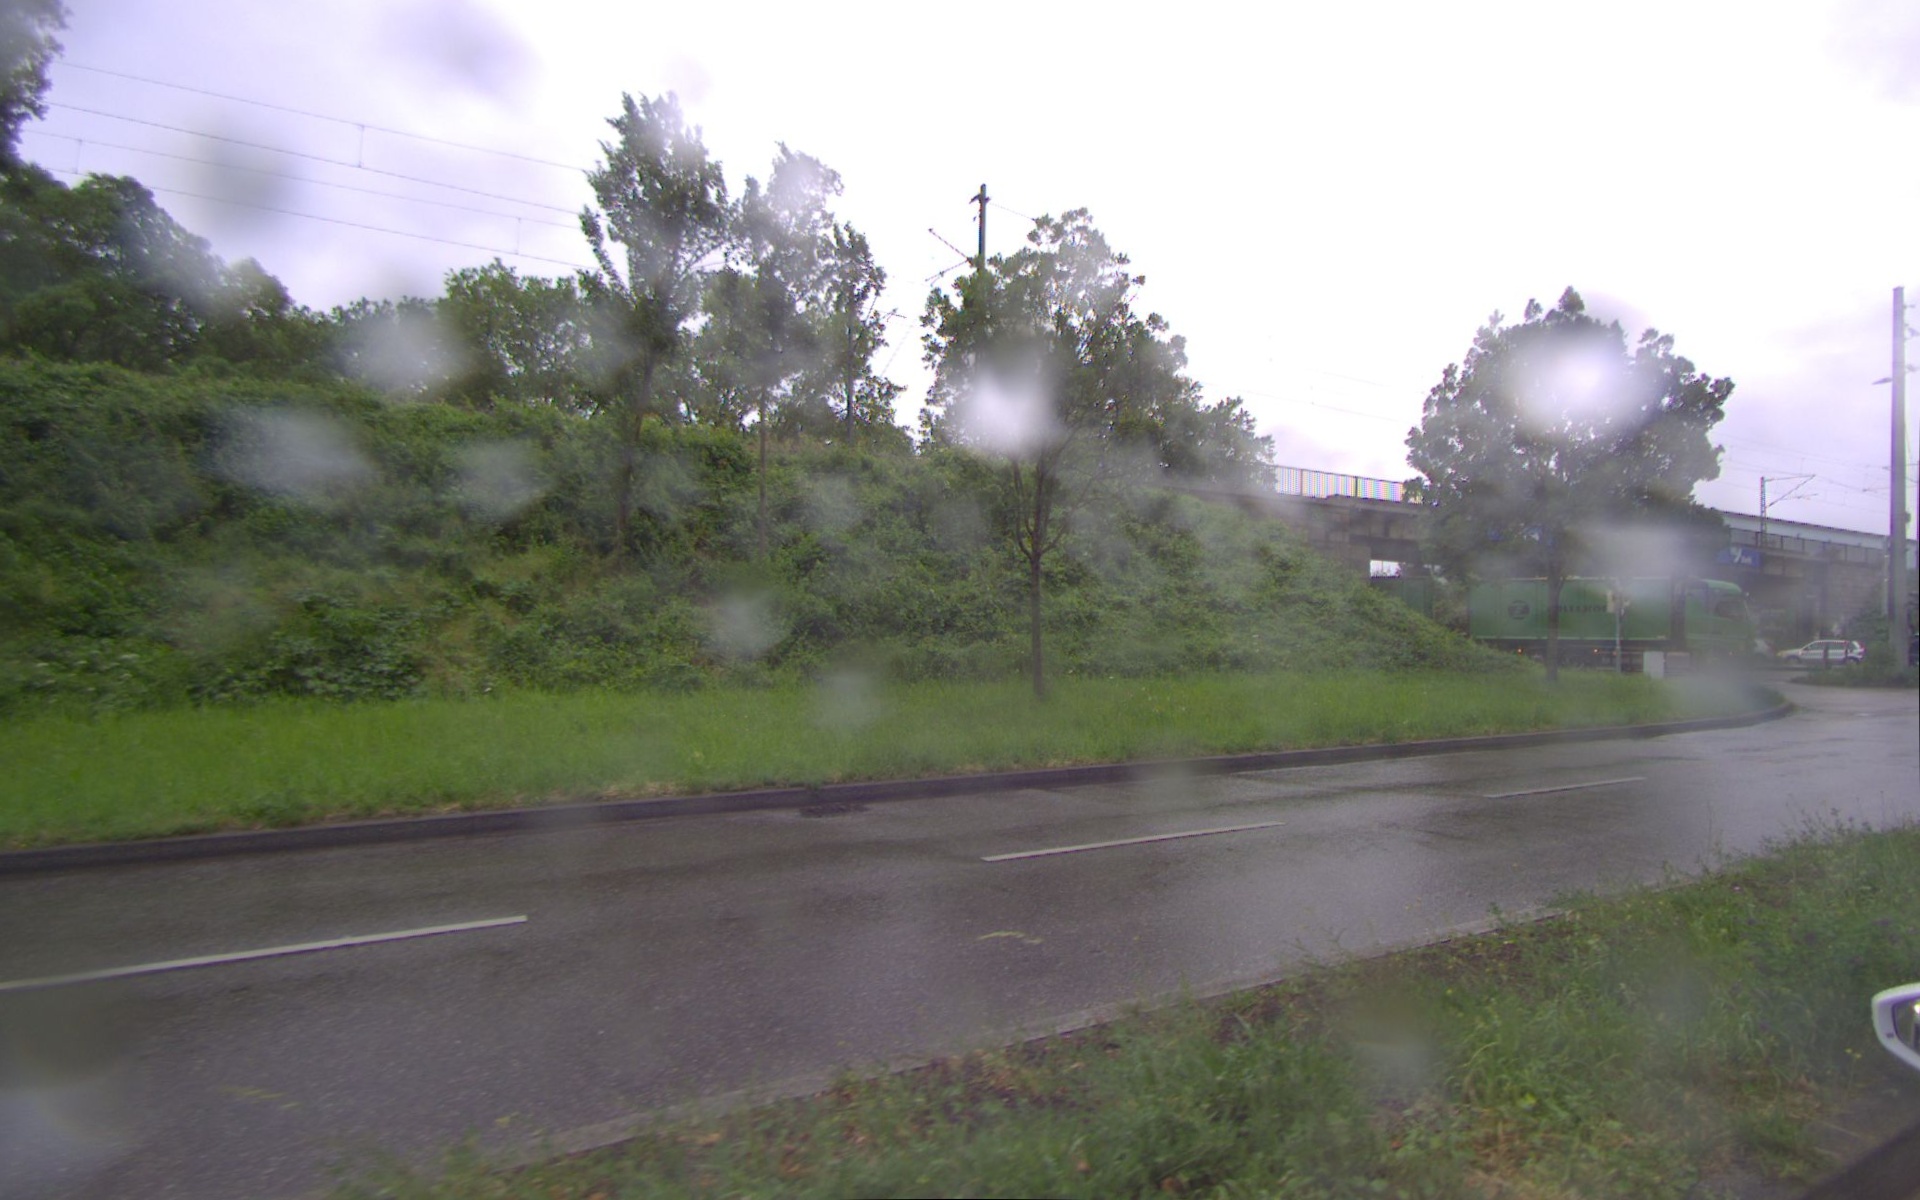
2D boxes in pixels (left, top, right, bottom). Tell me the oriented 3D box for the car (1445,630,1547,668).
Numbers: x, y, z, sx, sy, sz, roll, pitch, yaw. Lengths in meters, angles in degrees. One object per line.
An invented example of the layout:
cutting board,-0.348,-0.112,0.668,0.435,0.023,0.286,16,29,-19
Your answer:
car,24.253,2.196,45.591,3.923,1.594,1.999,0,-2,24

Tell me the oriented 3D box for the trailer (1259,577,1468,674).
trailer,17.850,1.087,44.745,8.357,4.039,2.688,0,-2,24

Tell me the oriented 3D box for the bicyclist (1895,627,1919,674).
bicyclist,33.455,1.763,35.046,1.029,1.614,0.803,2,-1,33

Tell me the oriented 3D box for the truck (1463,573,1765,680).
truck,26.211,1.036,41.017,10.000,4.001,2.686,0,-2,24

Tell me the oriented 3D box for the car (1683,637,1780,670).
car,41.498,2.847,54.133,3.930,1.625,1.895,0,-2,31

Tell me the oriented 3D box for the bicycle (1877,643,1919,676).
bicycle,33.384,2.083,35.100,1.880,1.109,0.693,1,0,34

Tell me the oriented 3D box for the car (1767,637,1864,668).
car,47.122,2.894,55.438,3.780,1.594,1.862,0,-2,32
